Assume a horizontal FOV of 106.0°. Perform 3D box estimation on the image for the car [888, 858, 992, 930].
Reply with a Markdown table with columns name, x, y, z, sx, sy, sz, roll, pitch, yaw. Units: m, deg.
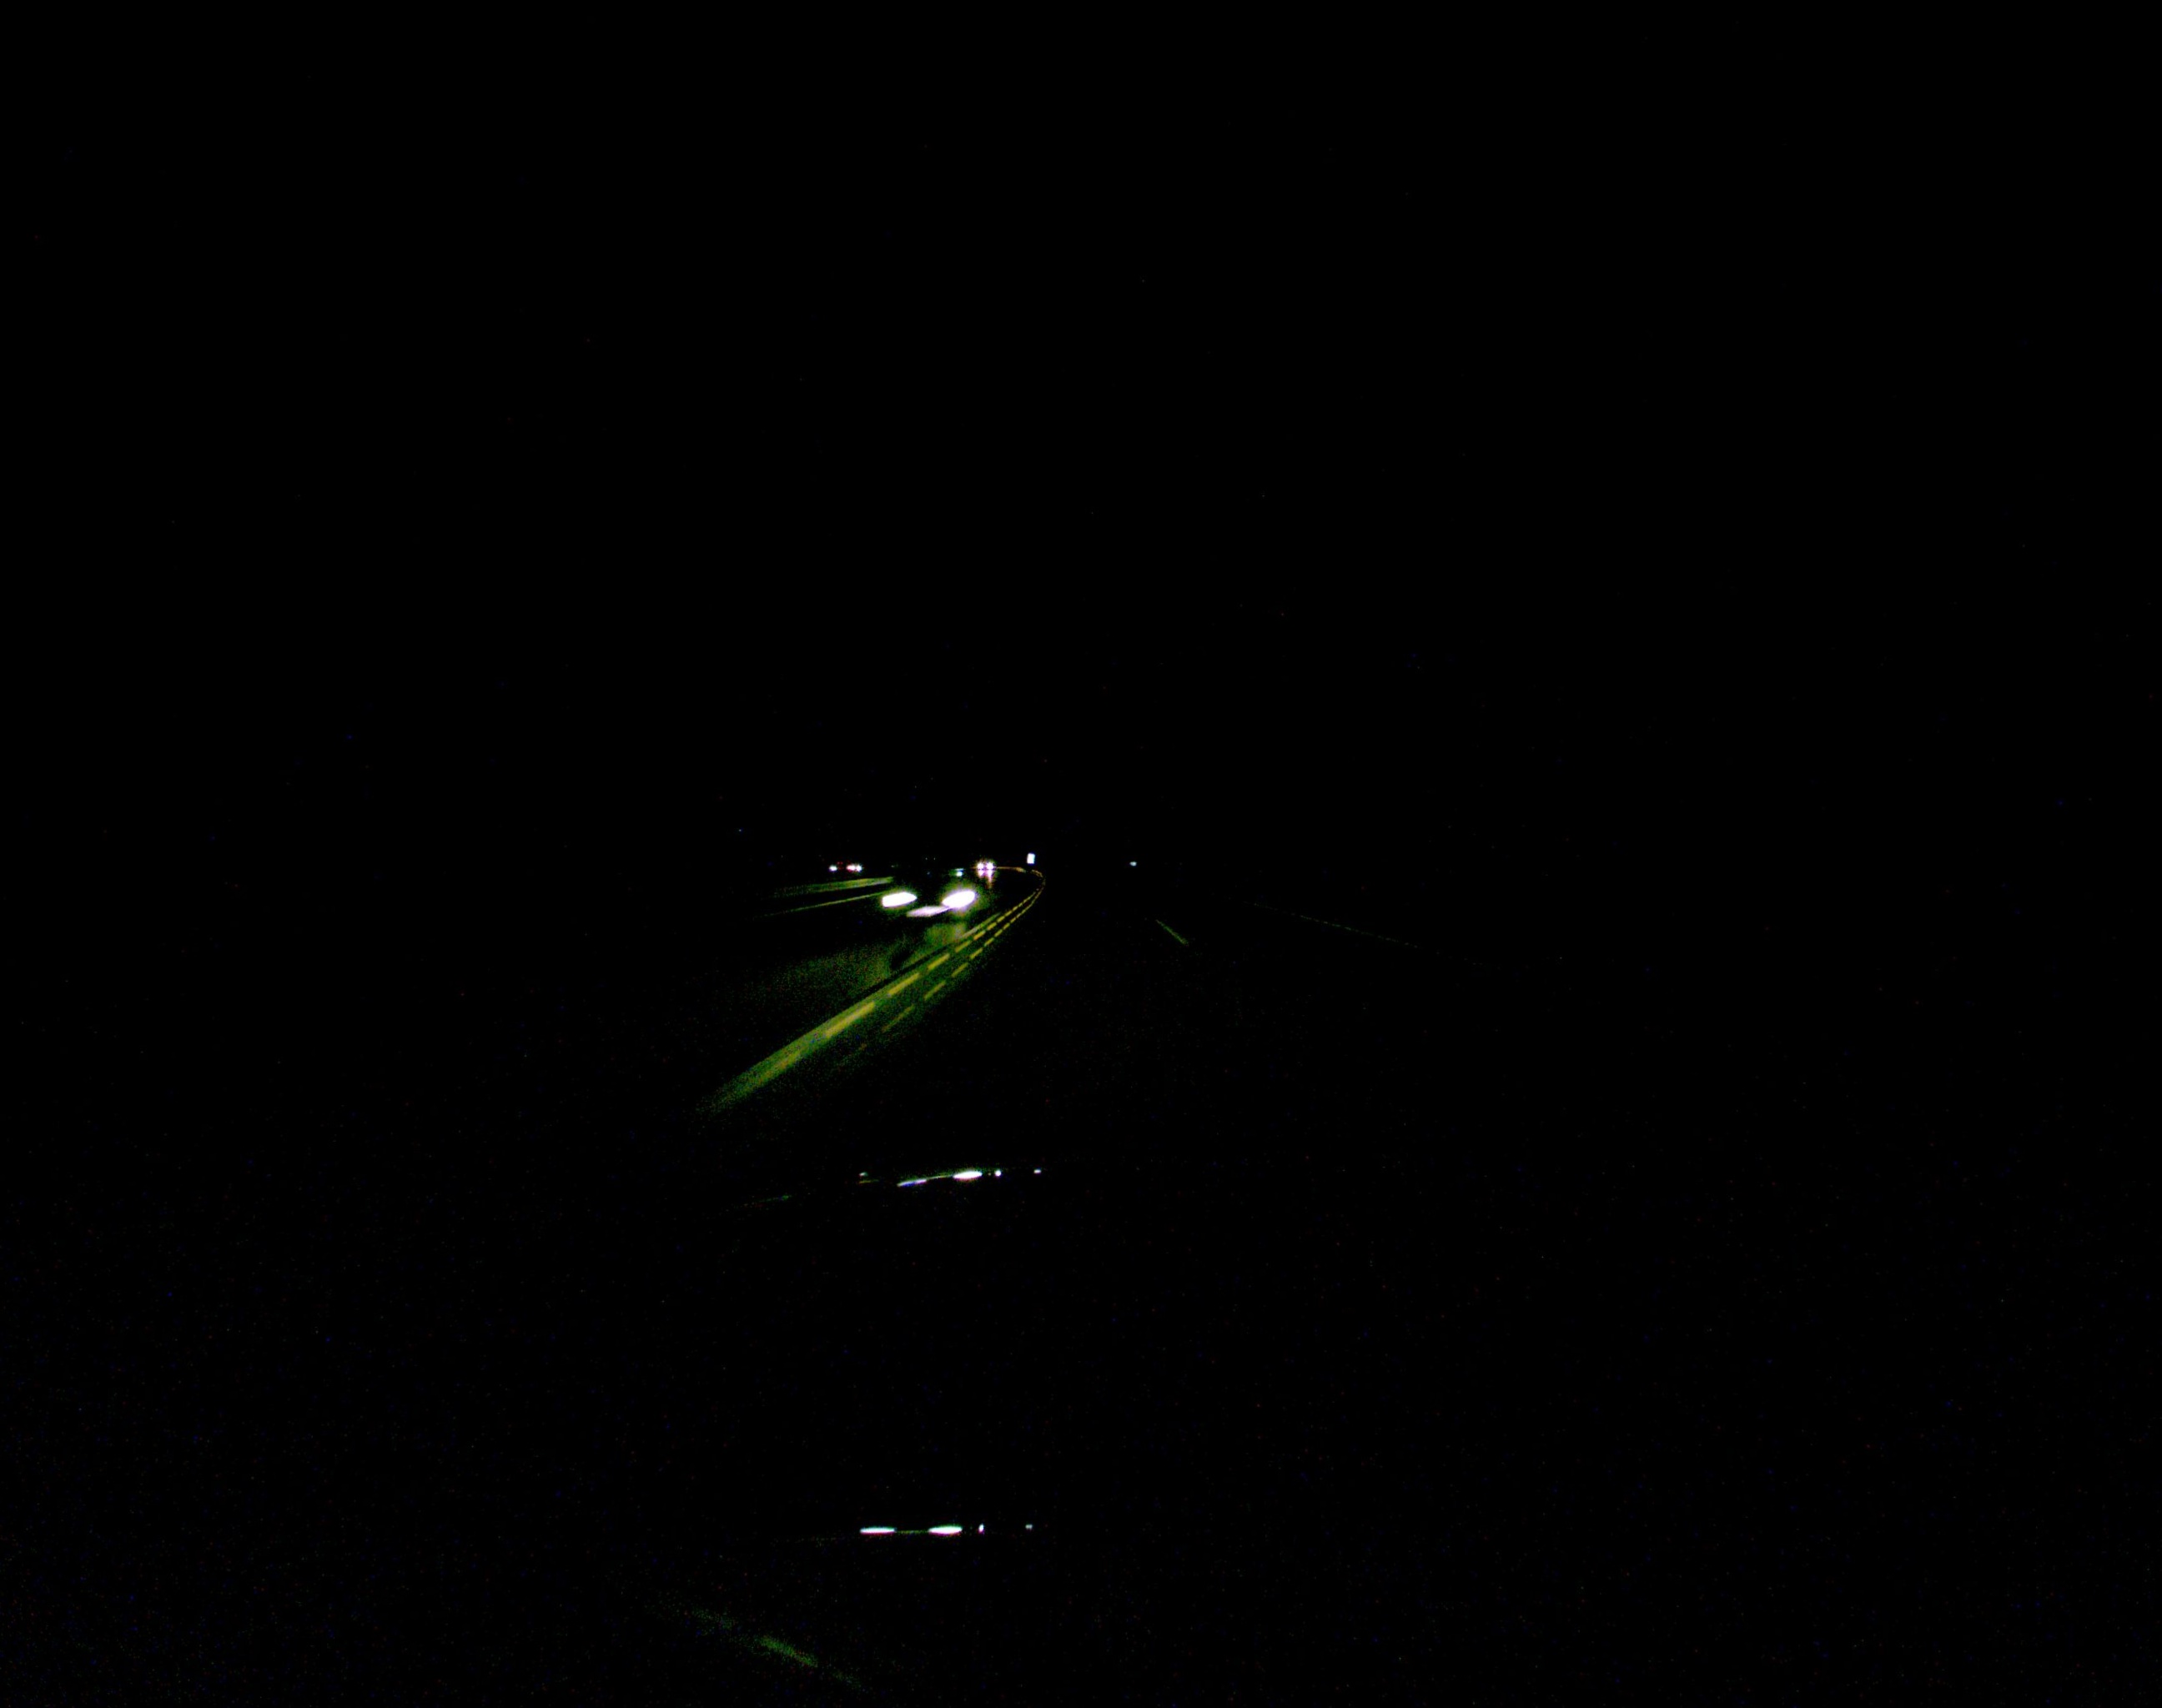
| name | x | y | z | sx | sy | sz | roll | pitch | yaw |
| --- | --- | --- | --- | --- | --- | --- | --- | --- | --- |
| car | -3.148 | 0.849 | 18.913 | 1.646 | 1.469 | 4.000 | -1 | -1 | 0 |

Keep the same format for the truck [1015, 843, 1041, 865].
| name | x | y | z | sx | sy | sz | roll | pitch | yaw |
| --- | --- | --- | --- | --- | --- | --- | --- | --- | --- |
| truck | -12.568 | 0.092 | 190.713 | 4.014 | 4.552 | 13.897 | -2 | -1 | -12 |

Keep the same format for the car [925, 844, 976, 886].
| name | x | y | z | sx | sy | sz | roll | pitch | yaw |
| --- | --- | --- | --- | --- | --- | --- | --- | --- | --- |
| car | -6.862 | 0.591 | 43.291 | 1.989 | 2.014 | 5.580 | -2 | -1 | -3 |

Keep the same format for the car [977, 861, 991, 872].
| name | x | y | z | sx | sy | sz | roll | pitch | yaw |
| --- | --- | --- | --- | --- | --- | --- | --- | --- | --- |
| car | -14.876 | 1.958 | 124.956 | 1.992 | 1.640 | 3.989 | -2 | -1 | -8 |
